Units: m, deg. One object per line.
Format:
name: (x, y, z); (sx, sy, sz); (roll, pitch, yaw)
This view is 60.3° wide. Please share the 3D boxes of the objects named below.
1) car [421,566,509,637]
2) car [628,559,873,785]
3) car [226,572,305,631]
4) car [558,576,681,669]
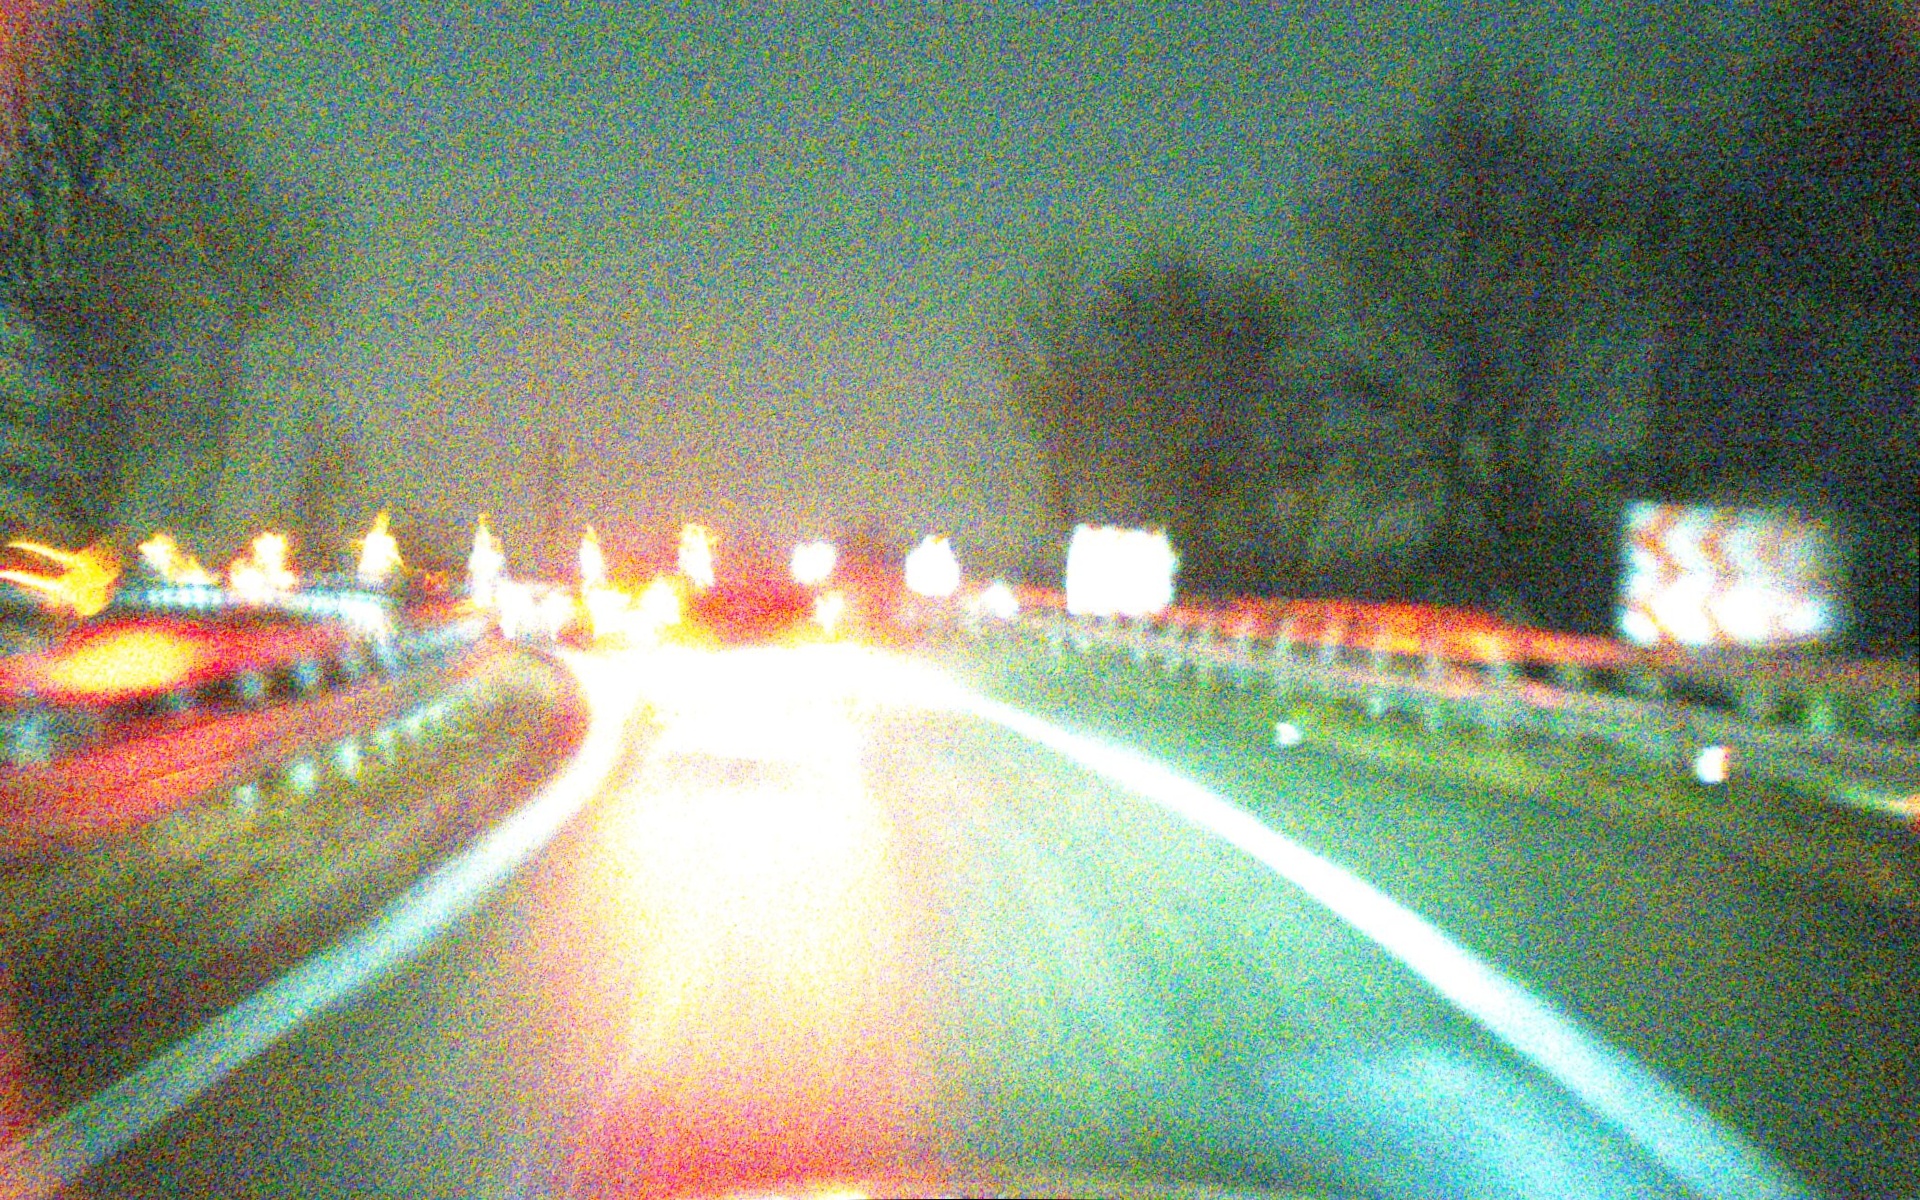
car: (-15.333, 0.007, 51.071); (1.874, 2.076, 4.008); (0, 1, -28)
car: (-1.867, 0.526, 14.620); (1.826, 1.676, 4.061); (-1, 0, -8)
car: (-25.676, 0.016, 61.106); (1.880, 2.032, 3.996); (-2, 2, -35)
car: (-7.056, 0.401, 34.000); (1.868, 1.750, 4.020); (-1, 1, -21)
